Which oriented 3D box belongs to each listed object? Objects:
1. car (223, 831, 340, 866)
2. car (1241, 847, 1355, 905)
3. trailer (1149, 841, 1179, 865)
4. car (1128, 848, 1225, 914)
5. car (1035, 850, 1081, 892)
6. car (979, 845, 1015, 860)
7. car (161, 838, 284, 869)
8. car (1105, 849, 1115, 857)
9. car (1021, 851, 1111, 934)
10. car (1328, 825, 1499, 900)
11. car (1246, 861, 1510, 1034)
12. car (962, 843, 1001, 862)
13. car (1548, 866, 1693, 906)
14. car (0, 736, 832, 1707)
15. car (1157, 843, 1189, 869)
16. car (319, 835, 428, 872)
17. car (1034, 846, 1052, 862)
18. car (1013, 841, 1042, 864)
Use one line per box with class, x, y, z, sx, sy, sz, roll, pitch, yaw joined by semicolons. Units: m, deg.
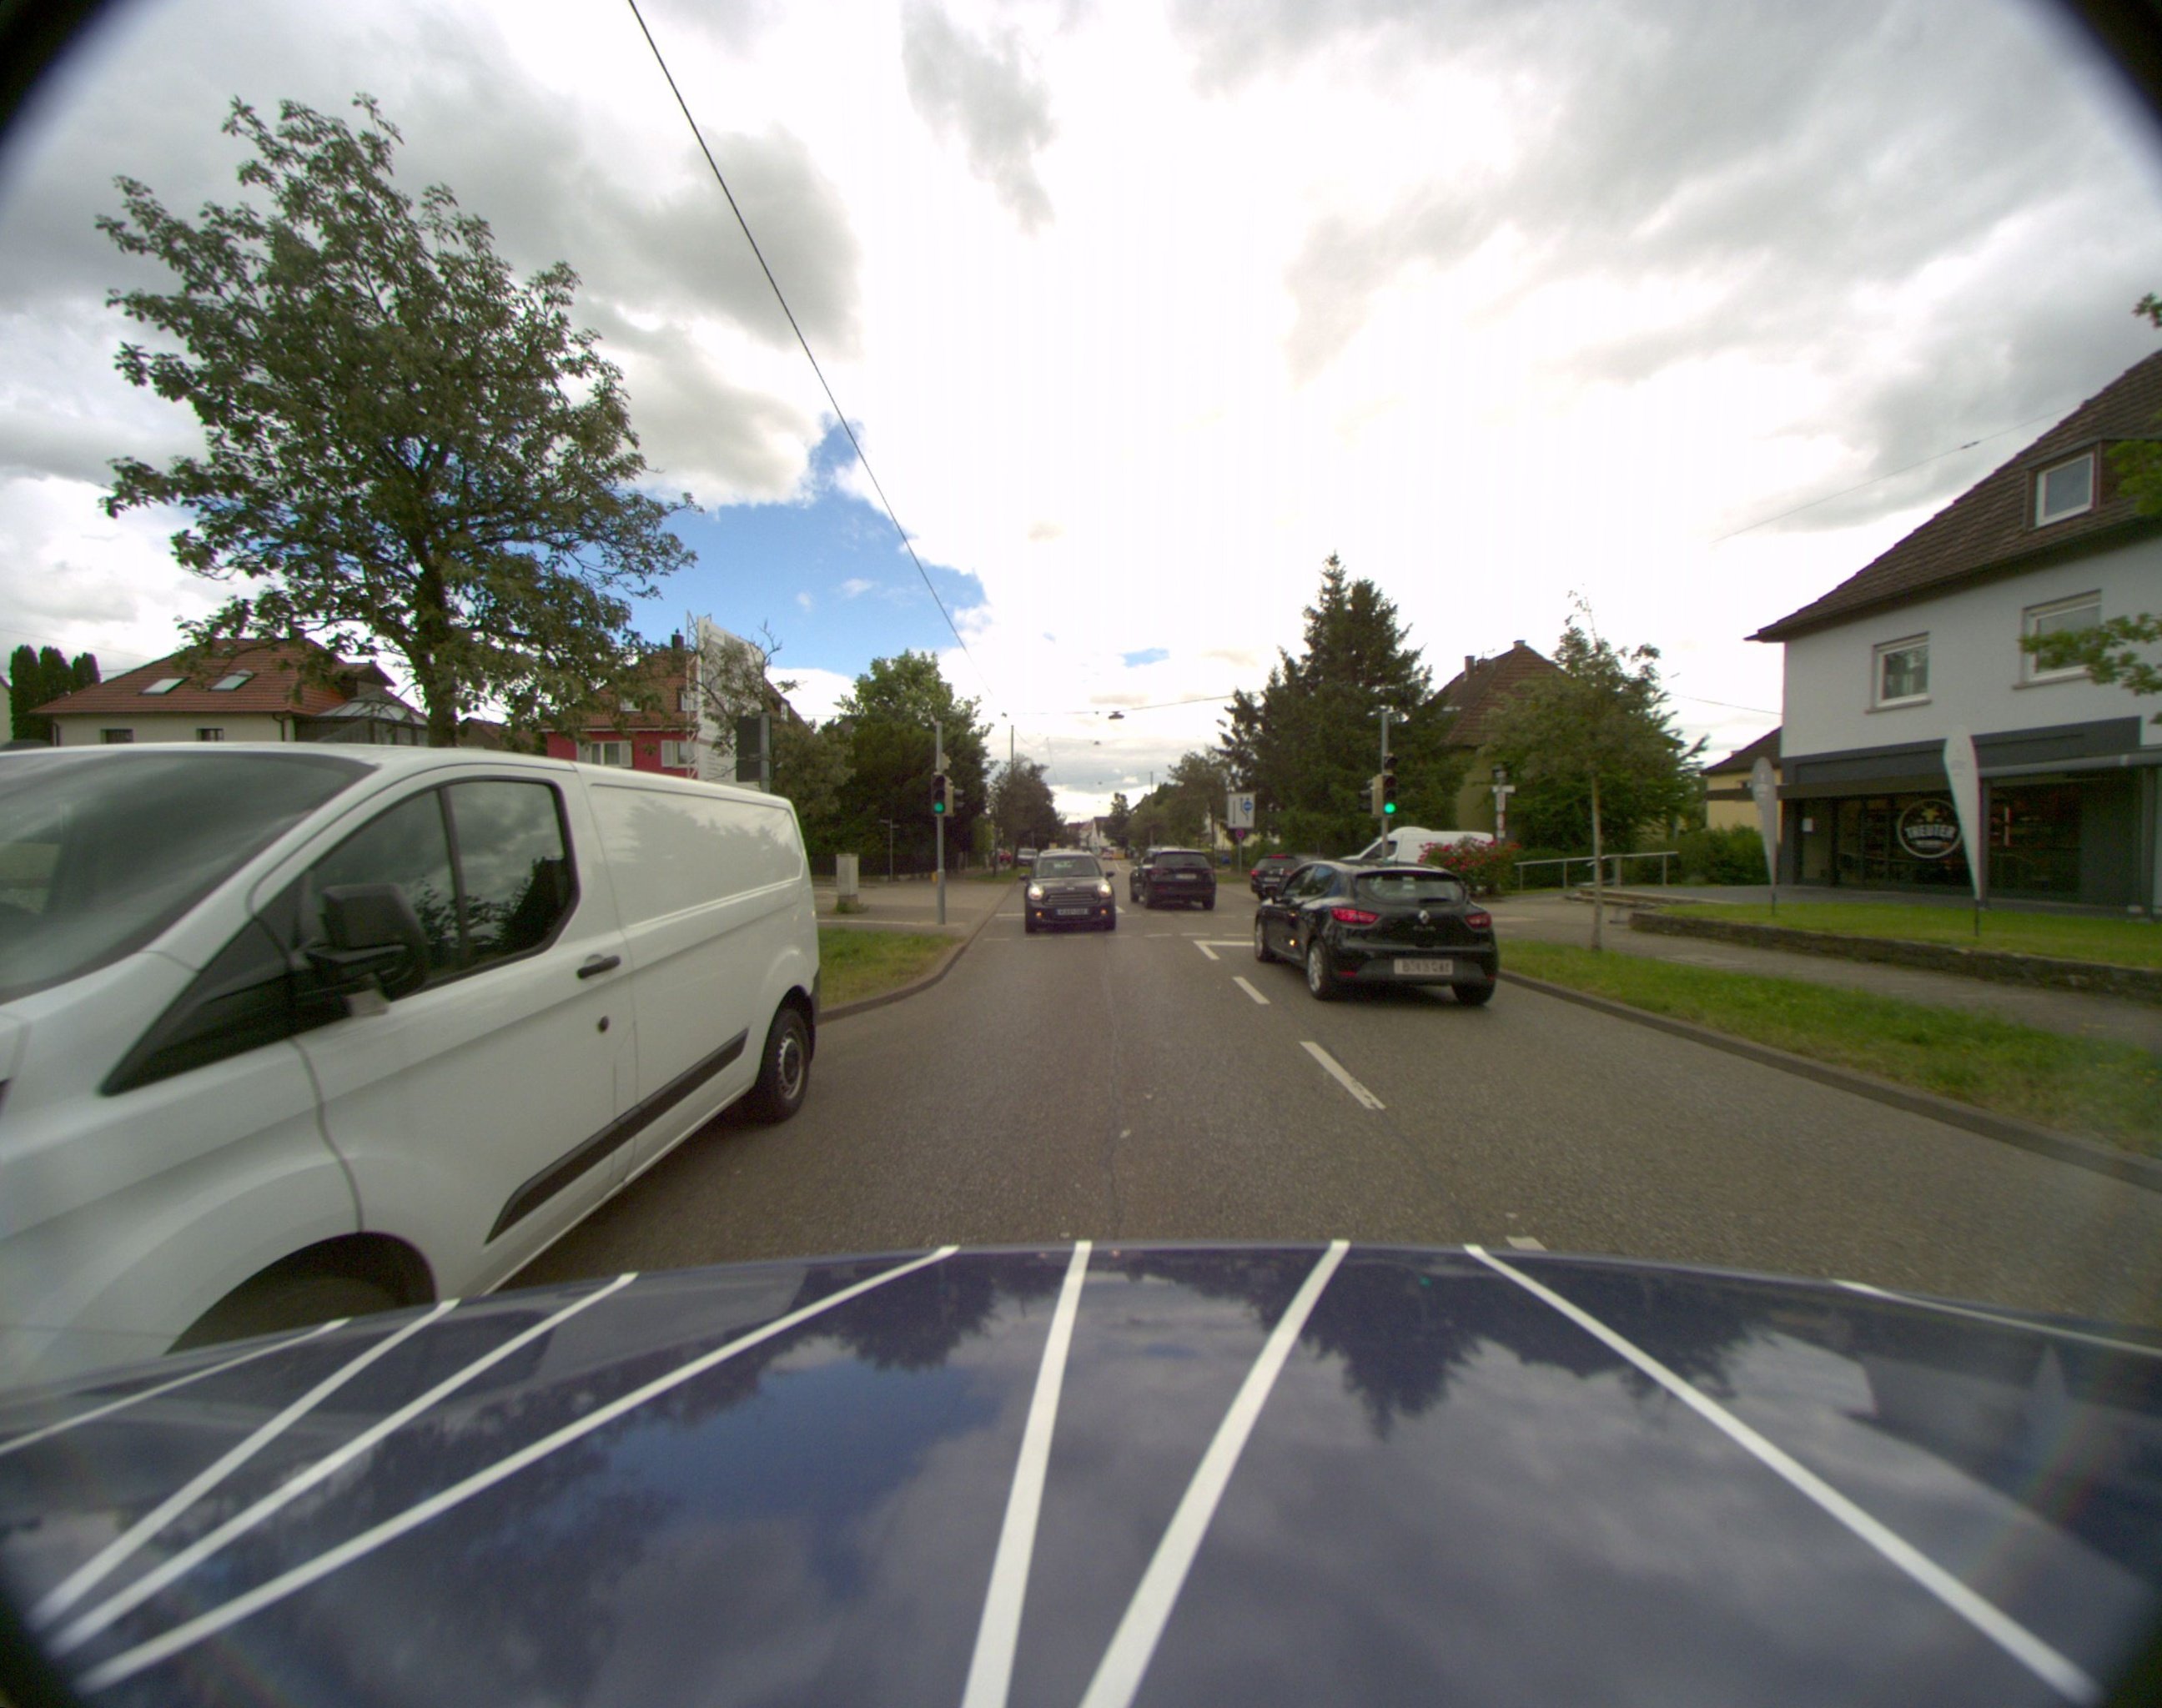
car;-36.466;-0.251;34.791;1.621;1.459;3.501;-2;1;-1
car;6.887;0.606;23.760;1.994;1.611;4.657;0;1;36
trailer;7.236;-0.119;66.571;2.160;2.076;4.425;0;1;0
car;2.485;0.645;20.718;1.901;1.615;3.998;0;1;-4
car;-0.853;0.627;30.405;1.590;1.598;3.684;0;1;2
car;-8.165;-0.138;73.999;3.362;1.451;1.748;0;1;-6
car;-39.089;-0.042;34.719;1.621;1.316;3.501;-2;1;-1
car;5.906;-0.261;152.870;1.825;1.594;4.299;-2;0;3
car;-0.234;0.757;16.933;1.743;1.573;3.684;-2;1;2
car;12.435;0.248;28.903;5.611;2.549;2.132;2;2;15
car;3.152;0.875;8.967;1.620;1.463;4.000;1;1;2
car;-9.297;-0.127;71.140;3.361;1.624;1.579;3;1;-3
car;20.508;1.185;29.011;4.127;1.346;1.798;2;-1;7
car;-2.606;0.783;2.780;1.779;1.932;4.788;-1;1;0
car;7.154;0.106;59.717;1.998;1.938;4.898;0;1;1
car;-31.925;-0.040;34.422;1.621;1.531;3.501;-2;1;-1
car;-4.077;-0.009;82.555;1.728;1.582;4.156;1;1;-1
car;-4.569;-0.162;65.563;1.902;1.826;4.915;1;1;3
